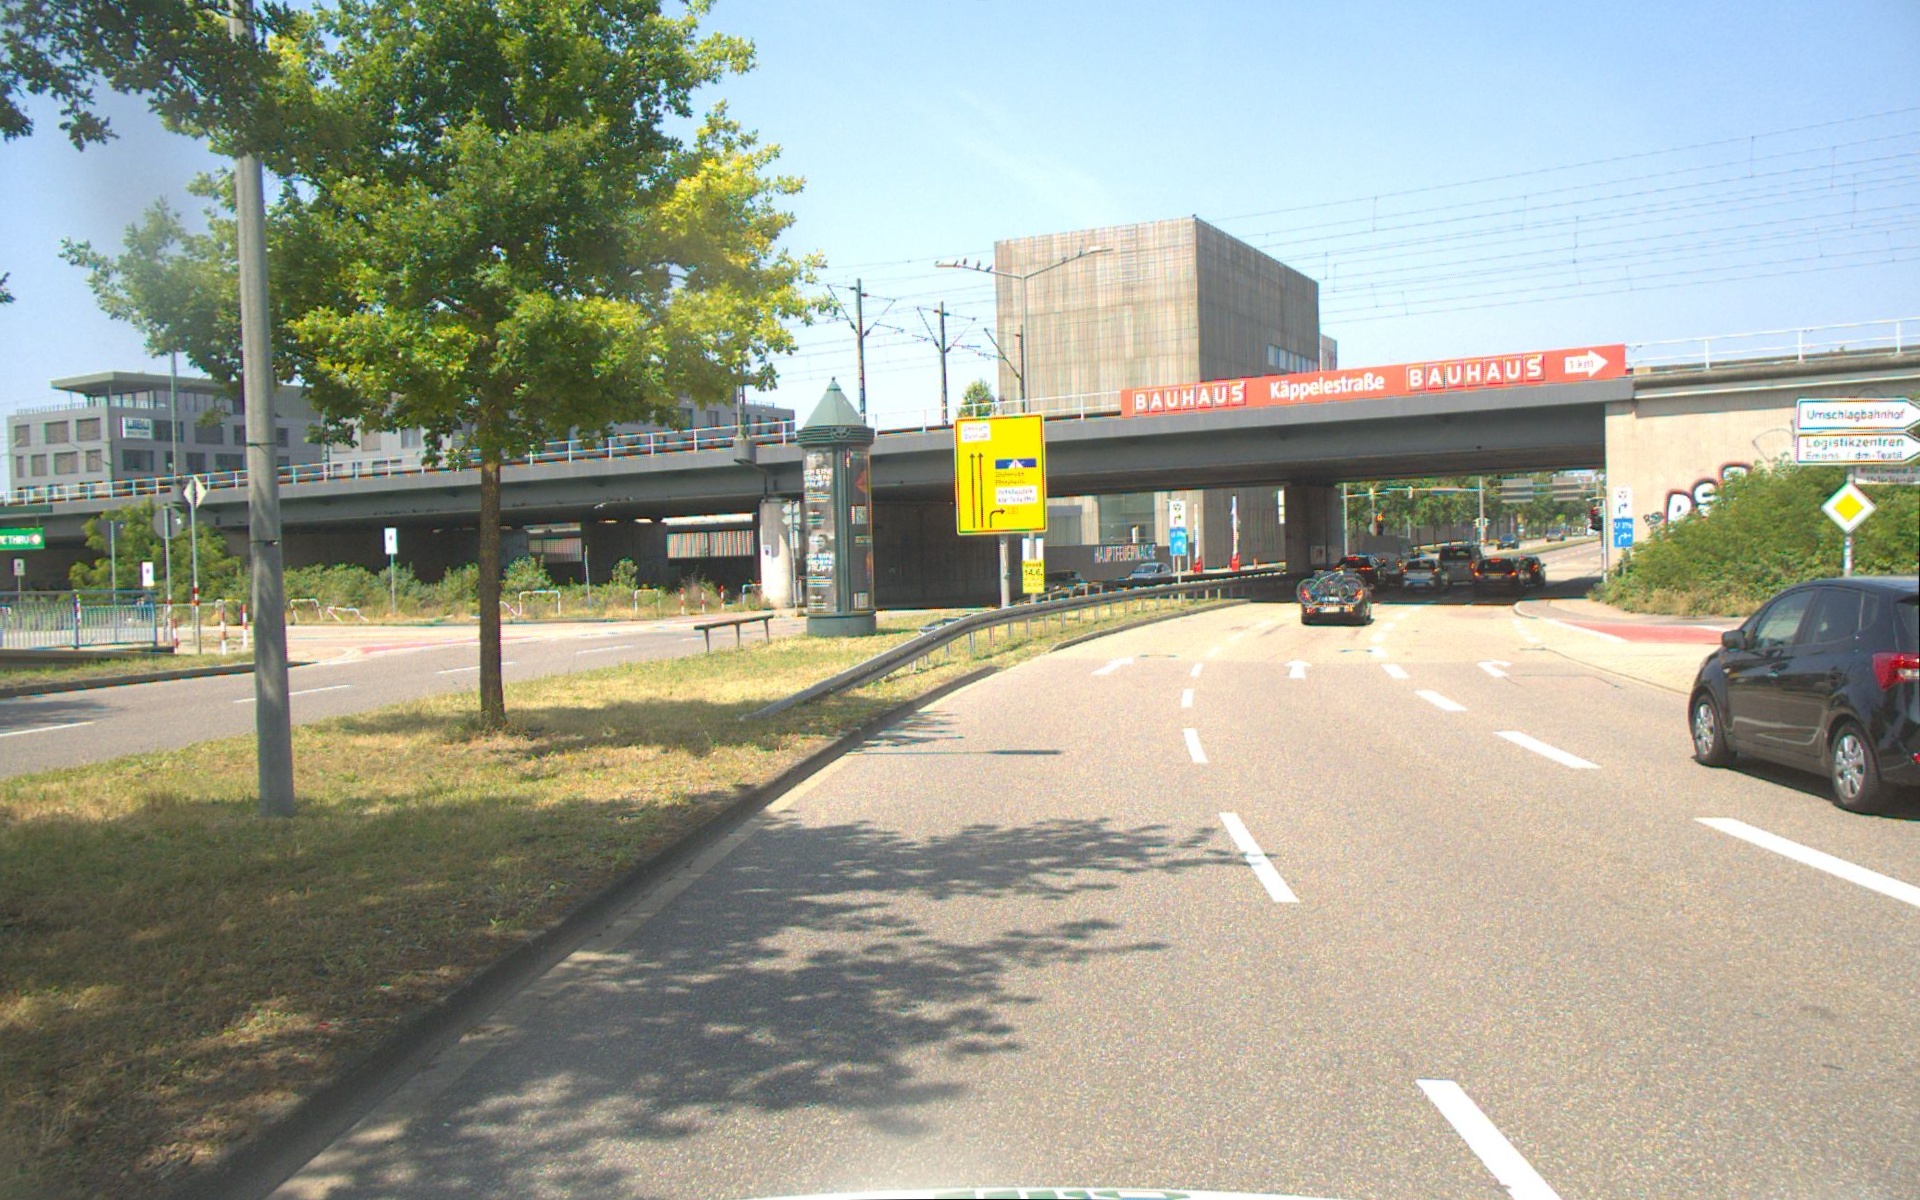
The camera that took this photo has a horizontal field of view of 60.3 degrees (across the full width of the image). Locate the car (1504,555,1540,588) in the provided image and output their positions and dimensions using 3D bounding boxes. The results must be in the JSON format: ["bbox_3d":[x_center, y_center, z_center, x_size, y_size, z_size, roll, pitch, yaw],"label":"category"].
[{"bbox_3d":[36.194,-1.822,106.415,1.953,2.049,4.000,-1,1,22],"label":"car"}]

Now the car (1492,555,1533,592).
[{"bbox_3d":[29.703,-1.411,88.923,1.803,1.923,4.000,0,1,22],"label":"car"}]

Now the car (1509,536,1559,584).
[{"bbox_3d":[26.548,-1.834,76.395,1.953,2.048,4.000,-3,0,21],"label":"car"}]

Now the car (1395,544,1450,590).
[{"bbox_3d":[20.197,-1.423,72.123,1.803,1.923,3.999,0,1,24],"label":"car"}]

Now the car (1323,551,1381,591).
[{"bbox_3d":[17.554,-1.285,74.008,1.901,1.751,3.999,0,1,23],"label":"car"}]

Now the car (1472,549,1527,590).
[{"bbox_3d":[21.750,-1.219,66.564,1.803,1.596,4.000,0,1,22],"label":"car"}]

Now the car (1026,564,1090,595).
[{"bbox_3d":[4.613,-0.946,77.285,1.621,1.403,4.215,0,1,24],"label":"car"}]

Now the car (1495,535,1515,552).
[{"bbox_3d":[57.897,-5.970,175.709,1.816,1.651,4.000,0,1,22],"label":"car"}]

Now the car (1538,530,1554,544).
[{"bbox_3d":[76.252,-8.170,215.334,1.816,1.651,4.000,0,0,21],"label":"car"}]

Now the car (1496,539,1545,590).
[{"bbox_3d":[24.641,-1.553,72.619,1.698,2.048,3.798,-3,0,22],"label":"car"}]

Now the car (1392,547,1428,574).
[{"bbox_3d":[36.718,-3.221,134.874,1.955,2.048,3.996,-3,0,27],"label":"car"}]

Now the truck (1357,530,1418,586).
[{"bbox_3d":[20.841,-2.036,80.534,2.027,2.582,3.996,-2,0,26],"label":"truck"}]

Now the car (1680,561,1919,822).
[{"bbox_3d":[7.017,0.530,12.389,1.730,1.627,4.080,-1,1,4],"label":"car"}]

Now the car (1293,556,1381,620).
[{"bbox_3d":[10.342,-0.351,45.197,1.916,1.662,4.282,0,1,19],"label":"car"}]

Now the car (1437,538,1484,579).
[{"bbox_3d":[24.572,-2.016,81.169,1.803,1.923,4.000,0,1,22],"label":"car"}]
